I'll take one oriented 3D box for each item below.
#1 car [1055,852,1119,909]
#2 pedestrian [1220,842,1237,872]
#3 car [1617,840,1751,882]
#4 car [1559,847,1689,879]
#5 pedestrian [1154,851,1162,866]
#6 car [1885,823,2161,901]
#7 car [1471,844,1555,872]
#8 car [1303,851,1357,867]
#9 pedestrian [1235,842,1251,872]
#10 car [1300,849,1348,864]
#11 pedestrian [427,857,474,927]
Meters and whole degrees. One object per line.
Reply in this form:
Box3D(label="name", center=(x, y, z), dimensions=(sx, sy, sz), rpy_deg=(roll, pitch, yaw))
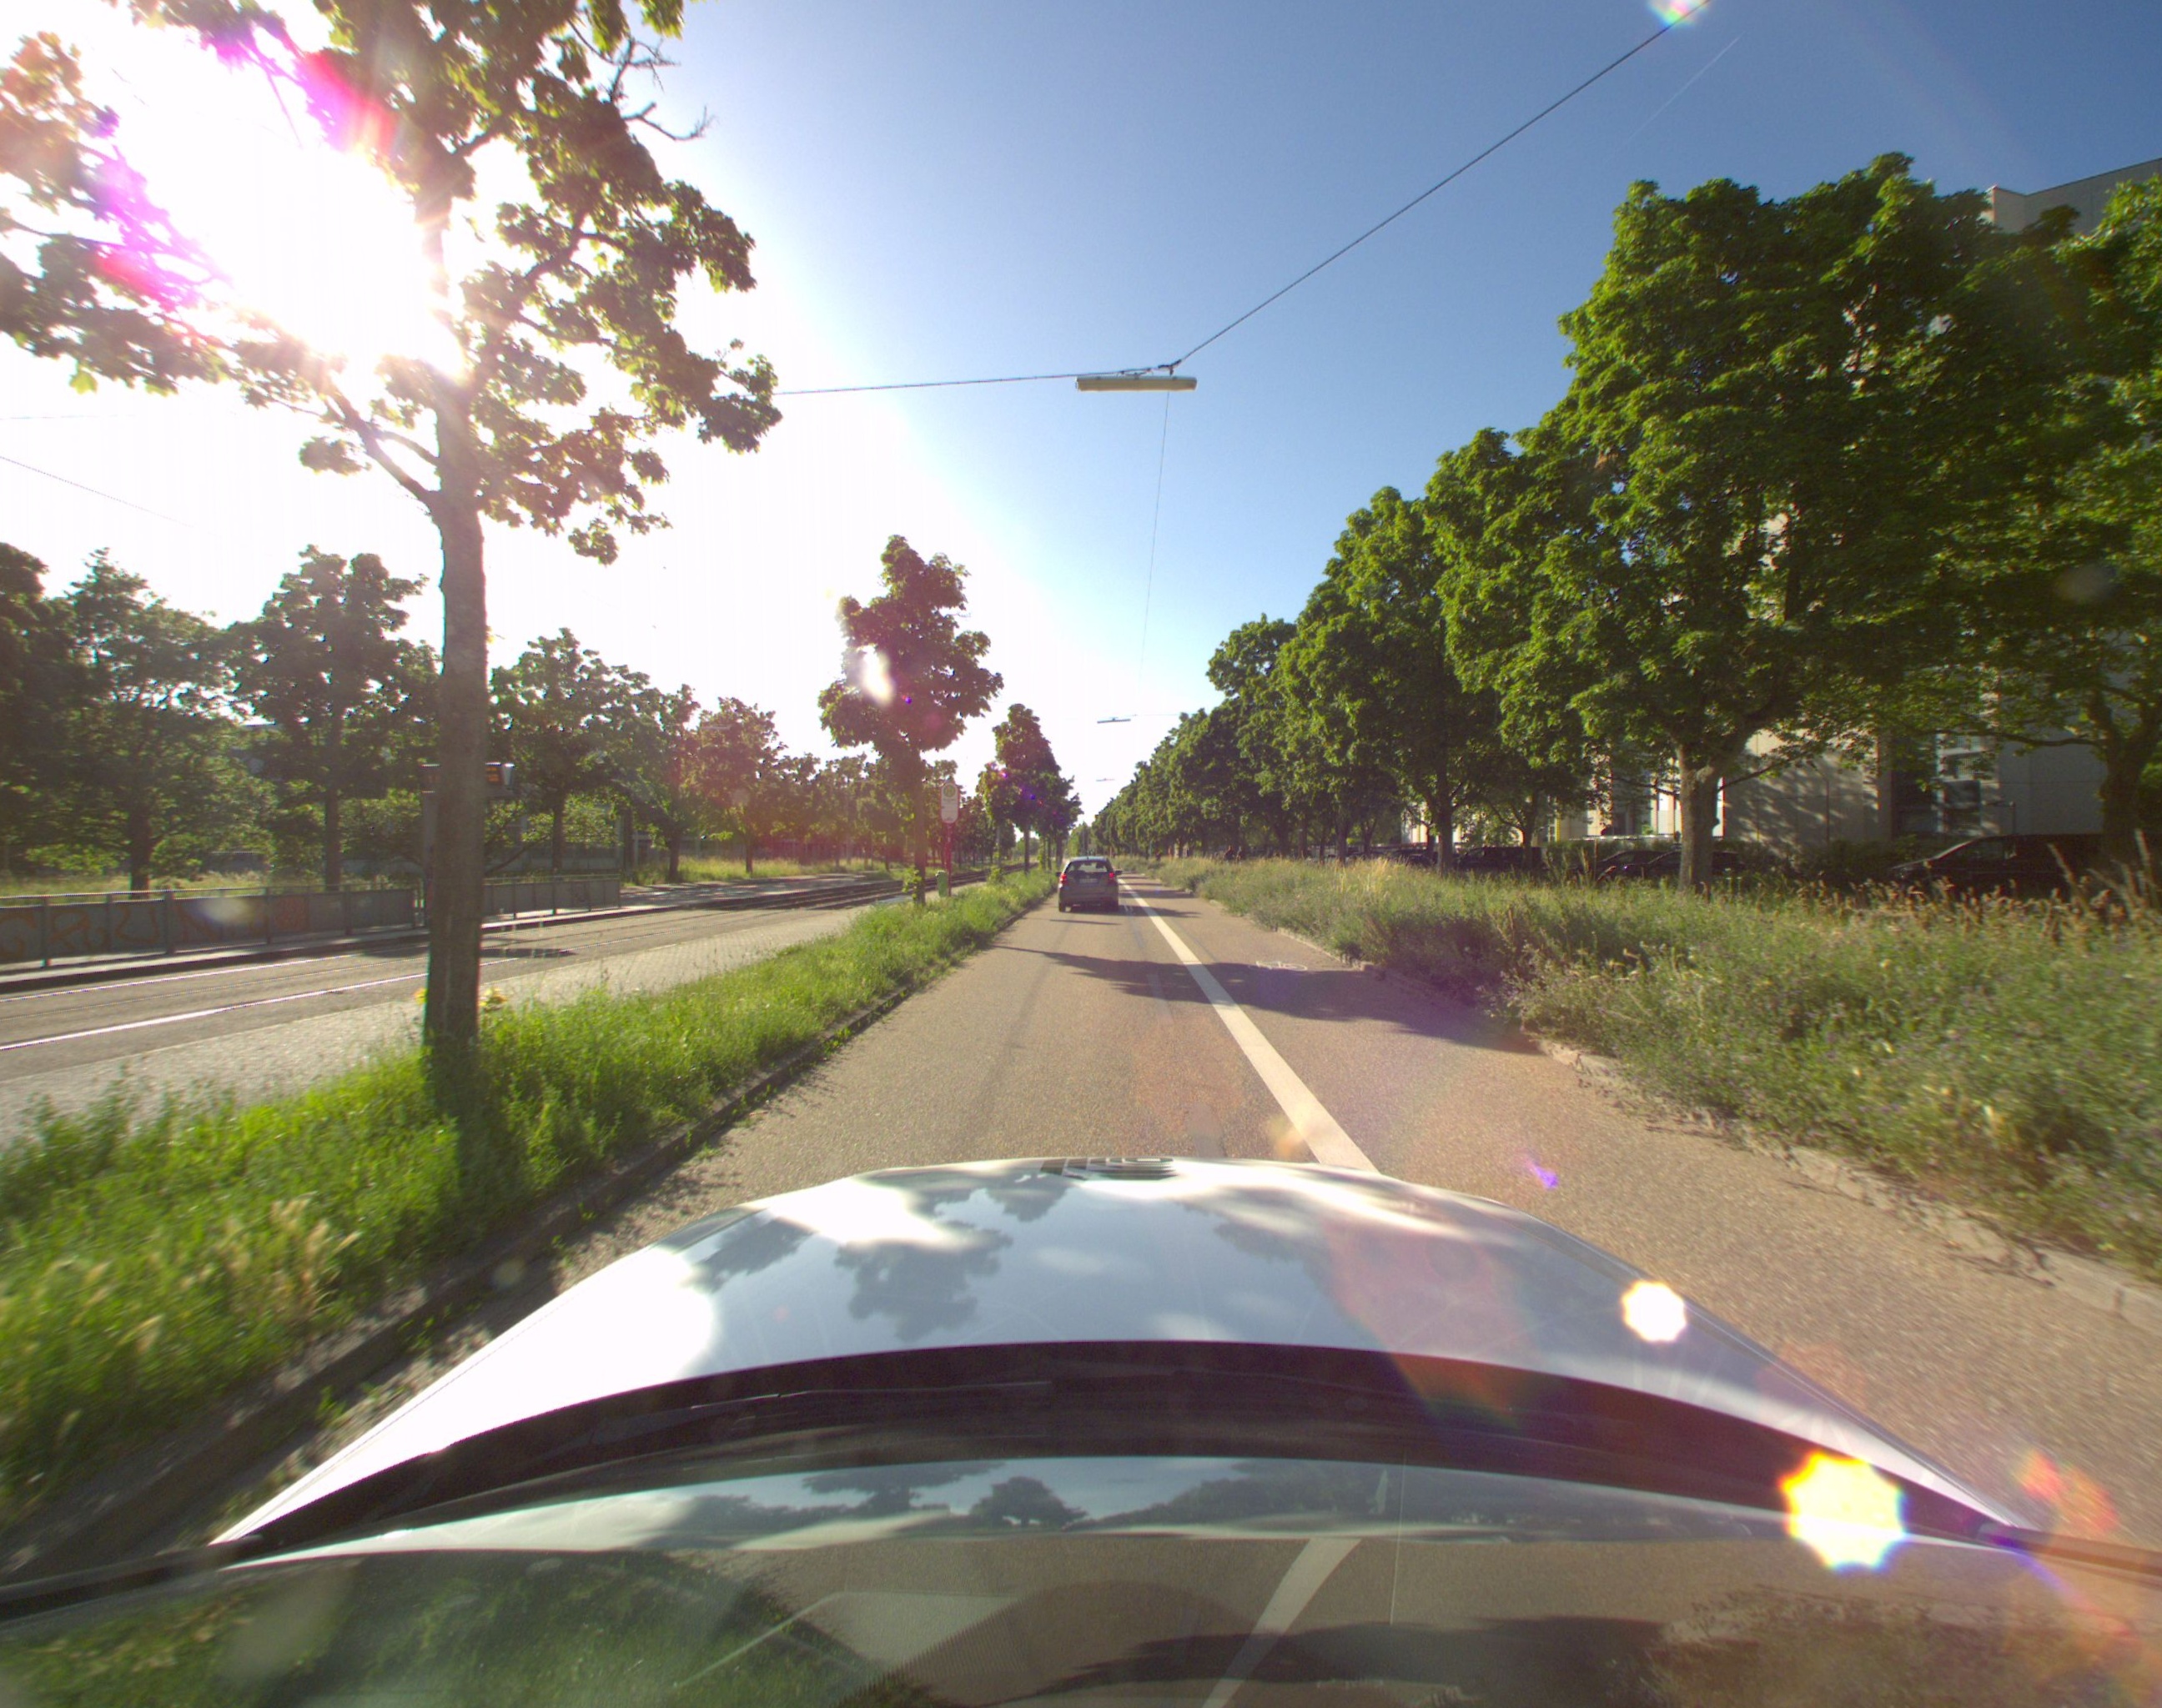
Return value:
Box3D(label="car", center=(0.129, 0.752, 23.677), dimensions=(1.696, 1.524, 3.707), rpy_deg=(0, -1, -1))
Box3D(label="pedestrian", center=(9.488, 0.206, 52.468), dimensions=(0.879, 1.884, 0.875), rpy_deg=(-1, -1, -1))
Box3D(label="car", center=(24.060, 0.279, 32.588), dimensions=(4.177, 1.556, 1.940), rpy_deg=(-1, -1, 38))
Box3D(label="car", center=(23.942, 0.383, 35.988), dimensions=(4.625, 1.327, 2.105), rpy_deg=(-1, 0, 38))
Box3D(label="pedestrian", center=(8.388, 0.472, 88.618), dimensions=(0.722, 1.690, 0.821), rpy_deg=(-1, -1, 1))
Box3D(label="car", center=(23.953, 0.242, 20.662), dimensions=(4.875, 1.802, 1.830), rpy_deg=(-2, -2, 40))
Box3D(label="car", center=(24.737, 0.240, 46.660), dimensions=(3.948, 1.513, 2.013), rpy_deg=(-1, -1, 39))
Box3D(label="car", center=(24.386, 0.486, 79.861), dimensions=(4.620, 1.556, 1.998), rpy_deg=(-1, 0, -3))
Box3D(label="pedestrian", center=(10.424, 0.212, 52.437), dimensions=(0.879, 1.884, 0.875), rpy_deg=(-1, -1, -1))
Box3D(label="car", center=(26.106, 0.301, 87.627), dimensions=(4.620, 1.556, 1.998), rpy_deg=(-1, 0, -3))
Box3D(label="pedestrian", center=(-13.255, 0.795, 17.139), dimensions=(0.542, 1.448, 0.560), rpy_deg=(-1, -1, 3))
